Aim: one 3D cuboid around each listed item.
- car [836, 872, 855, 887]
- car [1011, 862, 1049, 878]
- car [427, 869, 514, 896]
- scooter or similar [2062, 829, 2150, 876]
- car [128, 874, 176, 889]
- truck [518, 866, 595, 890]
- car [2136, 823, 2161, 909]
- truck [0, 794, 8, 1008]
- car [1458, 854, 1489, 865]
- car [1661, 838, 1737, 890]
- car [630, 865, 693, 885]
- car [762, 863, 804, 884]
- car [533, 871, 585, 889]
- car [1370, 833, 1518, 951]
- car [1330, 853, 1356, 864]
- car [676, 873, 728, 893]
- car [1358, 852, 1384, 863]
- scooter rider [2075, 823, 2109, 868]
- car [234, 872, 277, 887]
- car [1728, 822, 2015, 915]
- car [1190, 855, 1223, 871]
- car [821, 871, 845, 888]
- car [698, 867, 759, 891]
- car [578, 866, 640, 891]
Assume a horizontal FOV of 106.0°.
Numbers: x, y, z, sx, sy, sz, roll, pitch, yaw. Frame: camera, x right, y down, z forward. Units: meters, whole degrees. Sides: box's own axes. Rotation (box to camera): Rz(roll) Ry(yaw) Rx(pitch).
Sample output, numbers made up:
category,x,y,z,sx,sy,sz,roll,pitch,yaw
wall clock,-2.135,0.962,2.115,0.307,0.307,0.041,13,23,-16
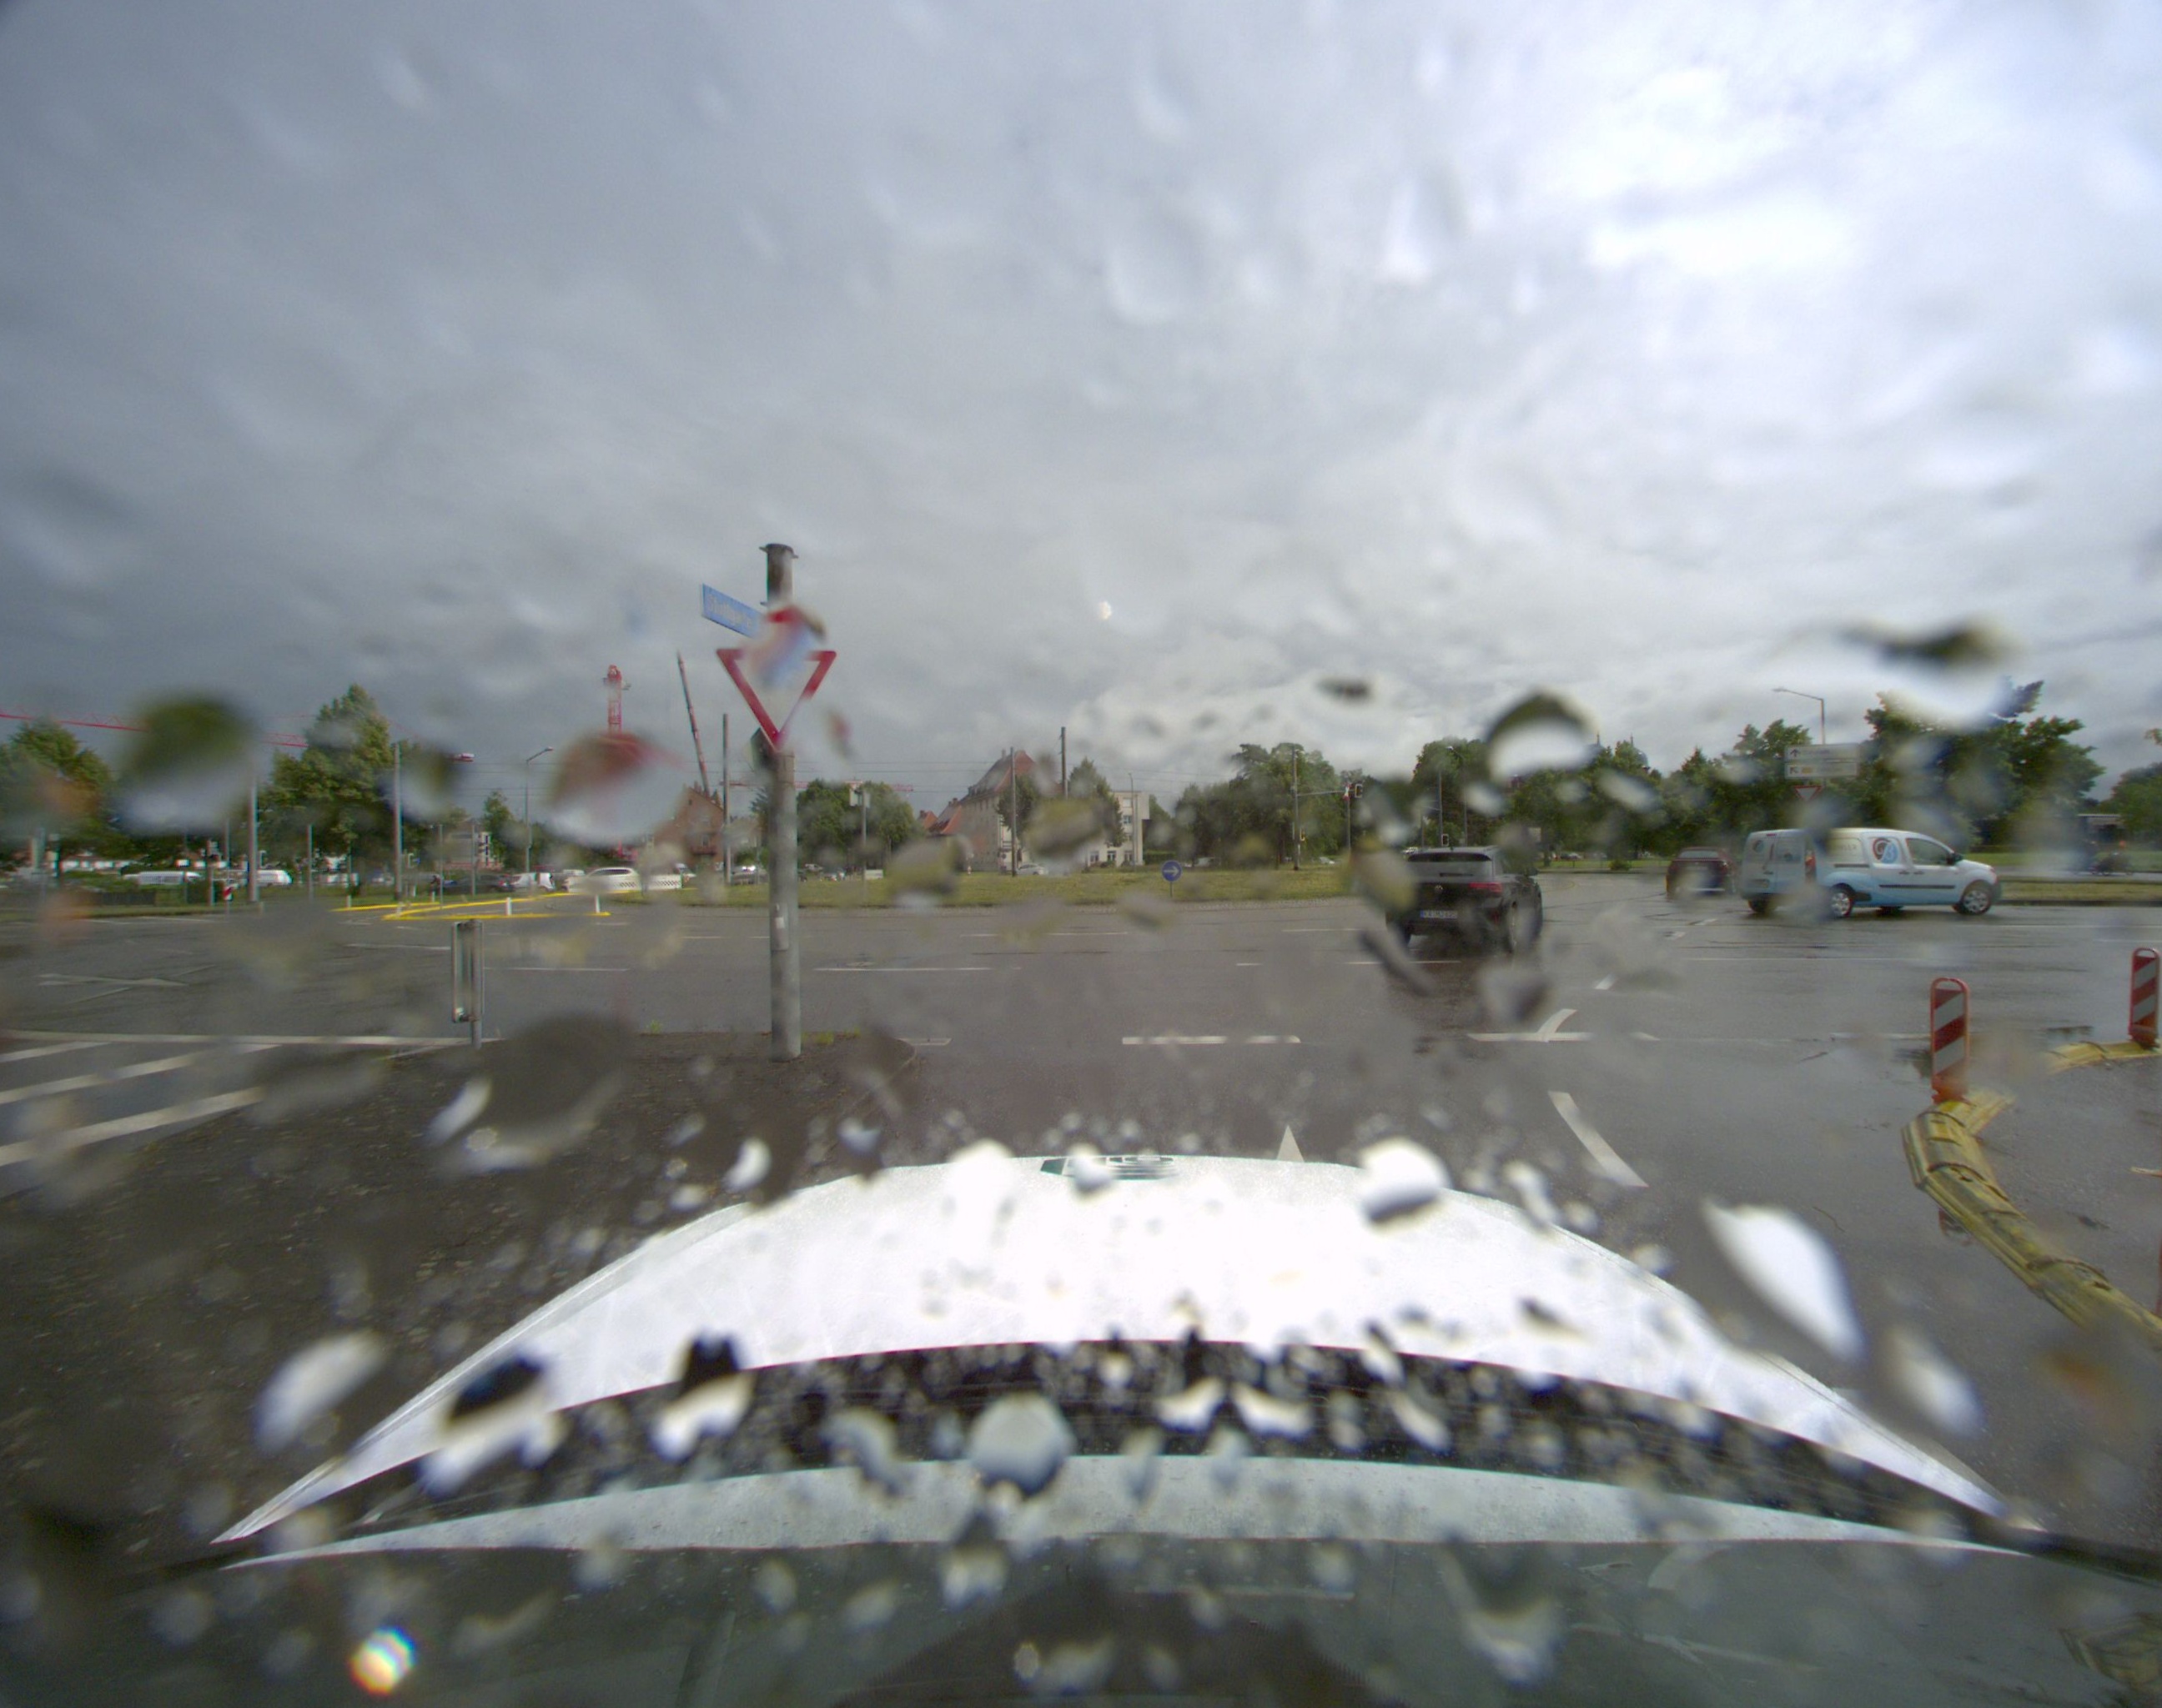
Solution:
category,x,y,z,sx,sy,sz,roll,pitch,yaw
car,-26.377,2.828,91.256,1.594,1.560,3.539,-1,0,-9
car,-5.101,1.613,81.682,3.456,1.454,1.559,-2,0,26
car,-37.792,1.739,50.509,4.009,1.517,1.787,-1,0,-27
scooter or similar,46.114,-0.039,36.702,1.224,2.014,3.429,0,-1,29
car,-104.685,3.123,91.823,3.479,1.560,1.549,-1,0,-2
truck,-50.383,2.297,78.312,6.049,2.212,2.402,1,-1,7
car,23.794,0.196,15.407,4.274,1.757,2.051,-2,0,17
truck,-13.257,0.581,6.877,2.469,2.726,6.880,-1,0,-29
car,58.619,0.879,121.657,1.851,1.560,3.950,-1,-1,-21
car,19.321,0.265,25.392,1.698,1.462,4.025,-1,0,40
car,-47.196,2.335,91.689,6.210,2.085,2.047,1,-1,8
car,-25.137,1.624,68.789,1.784,1.585,4.004,-1,0,4
car,-52.772,2.634,82.423,3.977,1.700,1.856,1,-1,-2
car,6.087,0.509,13.417,1.879,1.617,4.025,-2,0,28
car,36.027,0.581,112.159,1.645,1.462,3.588,-1,-1,-19
car,-35.585,2.685,76.499,1.974,1.684,4.025,-1,0,31
car,40.676,0.525,114.179,1.648,1.510,3.630,-1,-1,-16
scooter rider,46.250,-0.372,37.248,0.697,2.014,0.775,0,-1,25
car,-101.401,3.168,100.024,3.581,1.722,1.498,-2,0,-4
car,16.512,0.267,17.127,4.530,1.762,1.864,-1,0,-6
car,16.163,1.137,105.120,2.112,2.057,5.130,-2,0,-17
car,-24.123,2.440,79.273,1.543,1.560,3.492,-1,0,-6
car,-25.469,1.774,58.892,1.554,1.560,3.700,-1,0,42
car,-31.328,1.580,54.070,3.512,1.510,1.485,-1,0,-32
